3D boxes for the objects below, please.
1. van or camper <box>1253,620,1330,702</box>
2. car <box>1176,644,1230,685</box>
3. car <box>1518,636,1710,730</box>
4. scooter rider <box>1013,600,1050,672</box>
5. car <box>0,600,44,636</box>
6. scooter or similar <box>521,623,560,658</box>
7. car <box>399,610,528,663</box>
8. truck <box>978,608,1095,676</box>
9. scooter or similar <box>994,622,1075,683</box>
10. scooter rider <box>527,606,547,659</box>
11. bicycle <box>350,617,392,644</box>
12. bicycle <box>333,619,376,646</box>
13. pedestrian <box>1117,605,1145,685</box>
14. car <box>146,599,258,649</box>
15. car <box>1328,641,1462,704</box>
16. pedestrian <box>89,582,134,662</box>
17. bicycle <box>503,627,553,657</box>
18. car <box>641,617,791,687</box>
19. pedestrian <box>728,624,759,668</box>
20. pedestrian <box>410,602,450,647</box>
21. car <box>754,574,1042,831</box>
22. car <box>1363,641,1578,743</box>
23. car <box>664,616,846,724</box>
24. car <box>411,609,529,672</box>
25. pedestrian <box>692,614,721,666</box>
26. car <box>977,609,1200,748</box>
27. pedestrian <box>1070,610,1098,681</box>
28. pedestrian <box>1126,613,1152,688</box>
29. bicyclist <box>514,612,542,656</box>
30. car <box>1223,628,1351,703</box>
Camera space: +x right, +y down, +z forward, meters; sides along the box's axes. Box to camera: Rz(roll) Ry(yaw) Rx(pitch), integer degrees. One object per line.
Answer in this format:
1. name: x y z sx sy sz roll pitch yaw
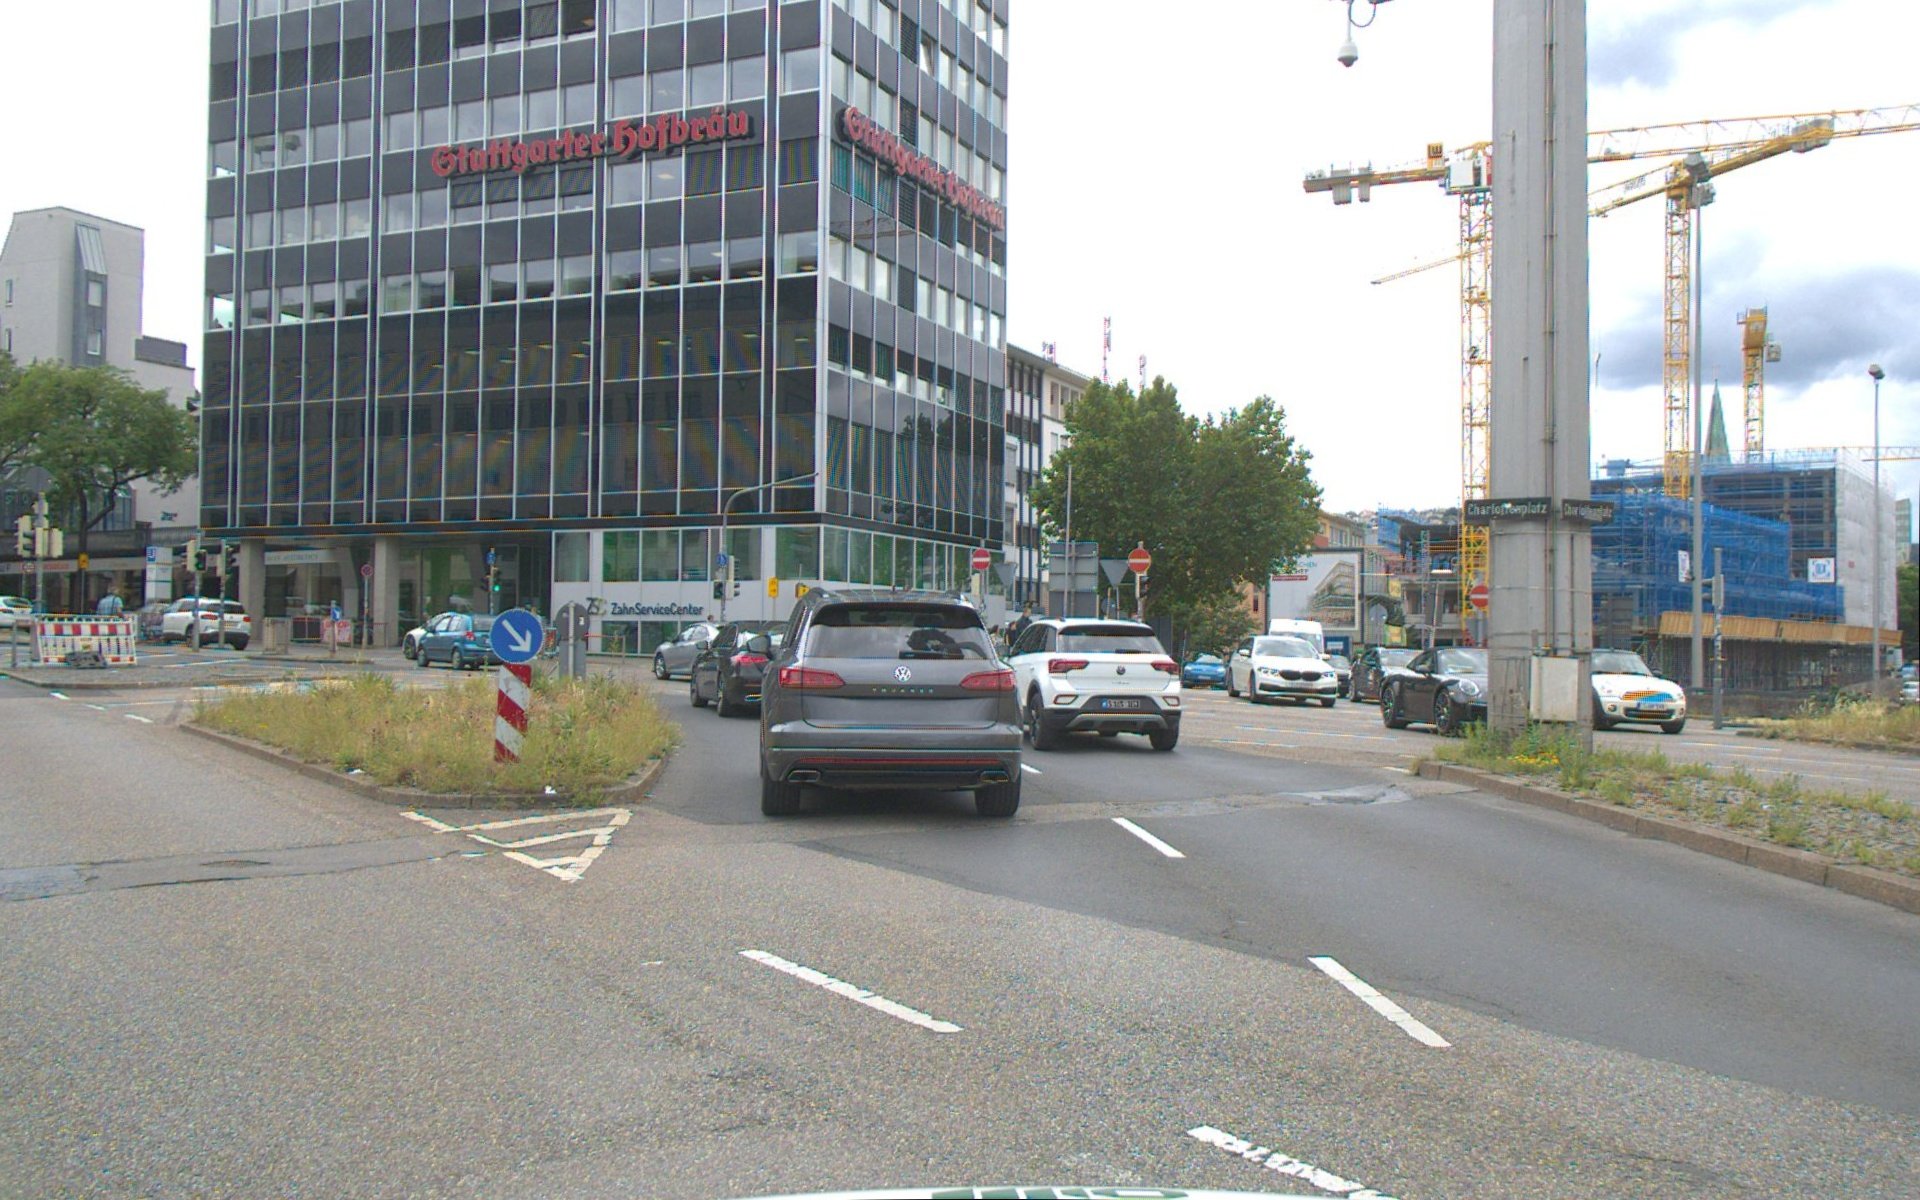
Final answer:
1. van or camper: 11.163 2.020 56.040 2.094 2.521 6.165 2 -1 8
2. car: 10.120 2.668 69.107 1.901 1.509 4.630 1 0 4
3. car: 11.447 1.412 29.191 1.690 1.443 3.644 2 0 -5
4. scooter rider: 1.760 0.873 40.514 0.728 1.724 0.767 1 -2 14
5. car: -40.229 0.725 69.037 4.252 1.443 2.052 1 0 39
6. scooter or similar: -14.719 1.423 58.065 1.296 1.196 0.591 1 -1 -12
7. car: -15.264 1.099 50.809 3.688 1.544 1.833 1 0 33
8. truck: 3.868 2.128 81.153 2.294 3.118 8.184 1 -2 29
9. scooter or similar: 1.828 1.277 40.485 1.842 1.431 0.777 1 -2 14
10. scooter rider: -14.838 1.126 58.039 0.630 1.840 0.591 1 -1 -12
11. bicycle: -24.640 1.281 69.164 1.450 1.066 0.714 2 -1 9
12. bicycle: -25.047 1.336 68.437 1.450 1.066 0.714 2 -1 9
13. pedestrian: 4.358 1.136 42.045 0.627 1.989 0.611 1 -2 9
14. car: -25.410 0.784 55.444 3.691 1.594 1.831 1 0 36
15. car: 10.558 1.736 40.474 1.719 1.357 4.407 3 -2 -6
16. pedestrian: -19.846 0.498 38.708 0.620 1.821 0.716 2 3 29
17. bicycle: -15.443 1.509 59.178 1.630 1.045 0.581 0 -1 1
18. car: -5.916 1.225 39.780 1.820 1.457 4.093 4 -1 -37
19. pedestrian: -7.463 1.575 57.038 0.819 1.468 0.605 1 0 25
20. pedestrian: -20.108 0.917 62.736 0.940 1.662 1.066 1 -1 23
21. car: -0.667 0.700 13.318 1.933 1.725 4.218 1 0 -7
22. car: 7.504 1.318 24.731 1.638 1.286 4.053 0 0 -6
23. car: -3.261 1.028 25.602 1.807 1.420 4.121 4 -1 -21
24. car: -13.032 1.043 43.883 1.819 1.544 3.717 1 0 -37
25. pedestrian: -8.527 1.328 55.645 0.783 1.727 0.547 1 -1 25
26. car: 1.507 0.938 20.854 1.766 1.572 3.923 1 -1 -12
27. pedestrian: 3.265 1.185 43.503 0.627 1.828 0.611 2 -2 6
28. pedestrian: 4.719 1.340 43.662 0.627 1.944 0.611 1 -2 6
29. bicyclist: -15.464 1.207 59.179 0.826 1.577 0.565 0 -1 1
30. car: 7.363 1.466 37.743 1.952 1.531 5.039 2 -2 1
